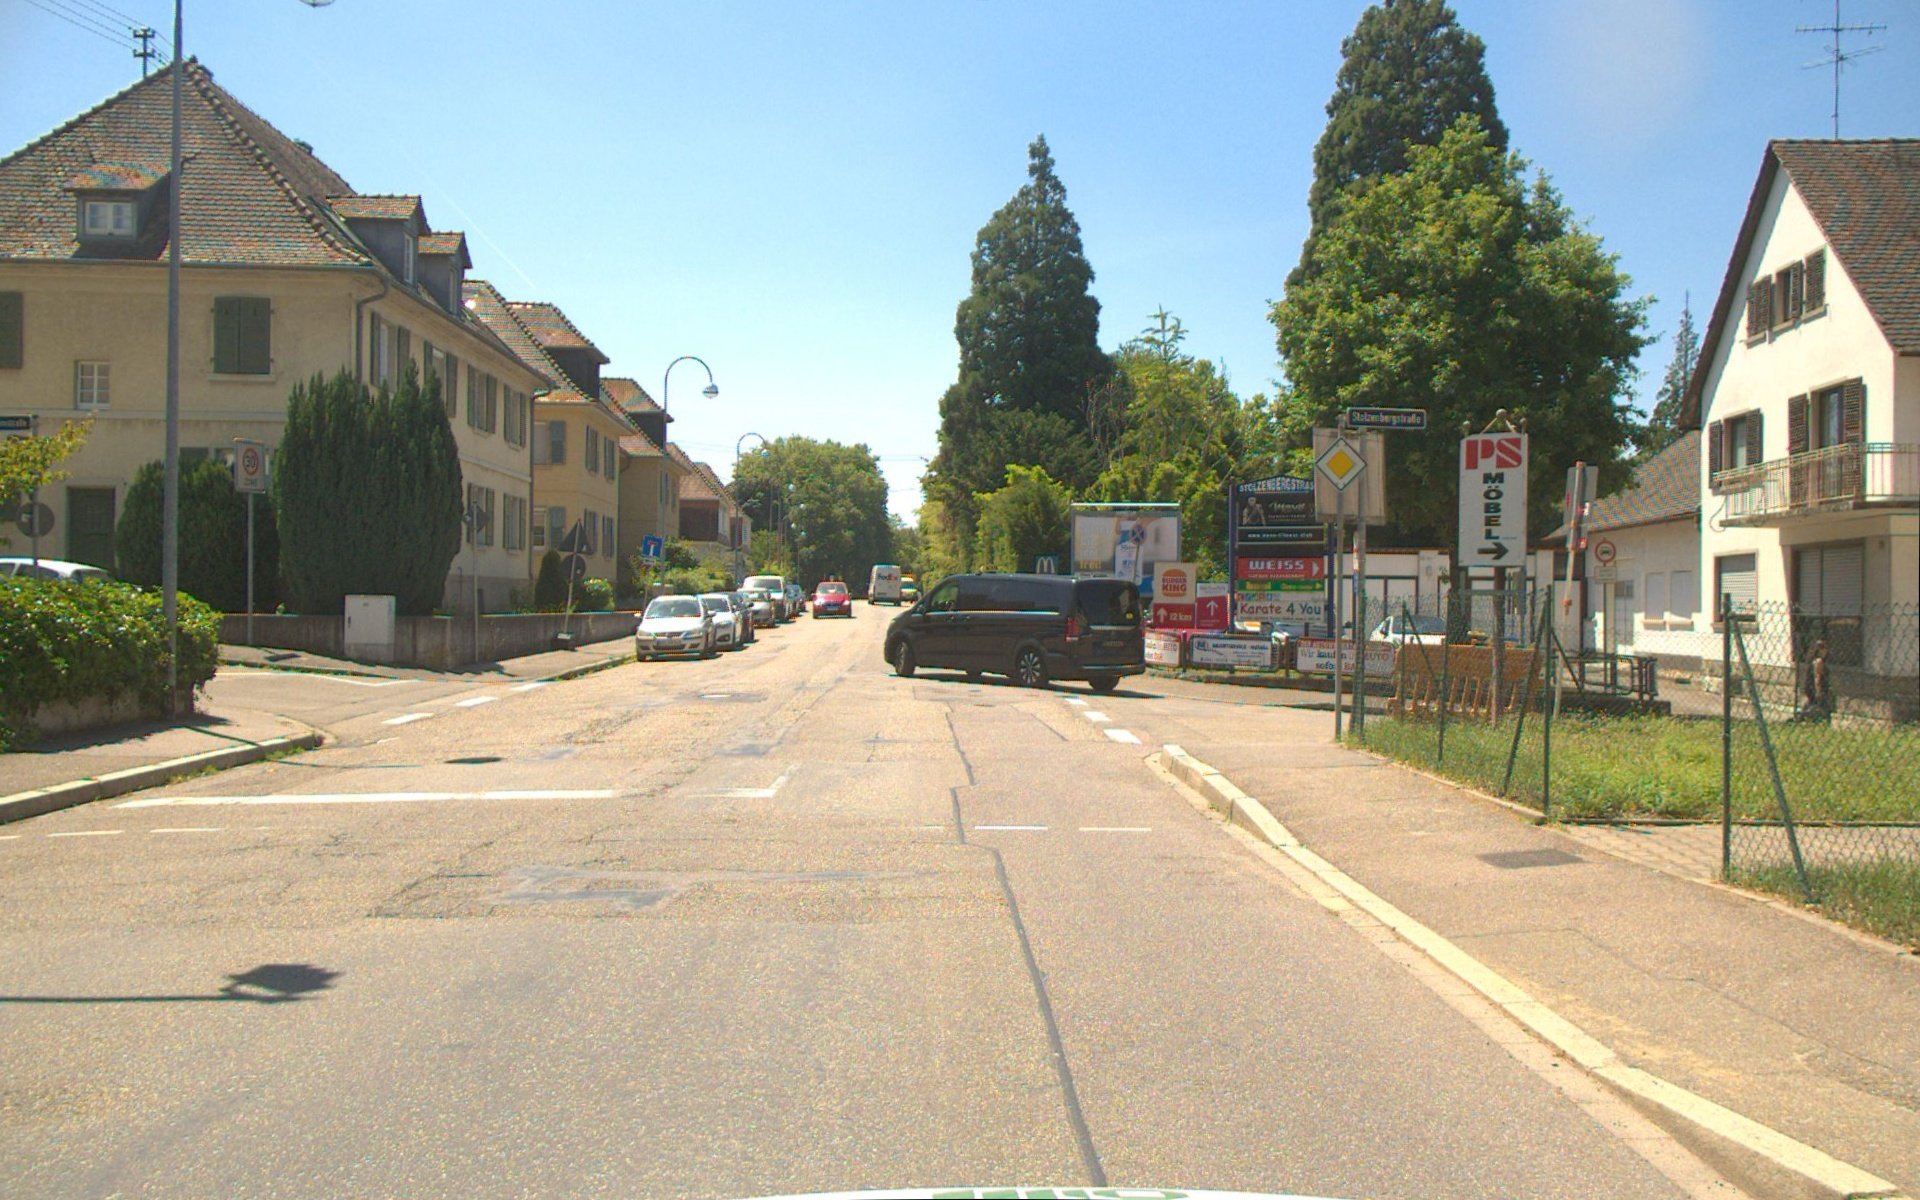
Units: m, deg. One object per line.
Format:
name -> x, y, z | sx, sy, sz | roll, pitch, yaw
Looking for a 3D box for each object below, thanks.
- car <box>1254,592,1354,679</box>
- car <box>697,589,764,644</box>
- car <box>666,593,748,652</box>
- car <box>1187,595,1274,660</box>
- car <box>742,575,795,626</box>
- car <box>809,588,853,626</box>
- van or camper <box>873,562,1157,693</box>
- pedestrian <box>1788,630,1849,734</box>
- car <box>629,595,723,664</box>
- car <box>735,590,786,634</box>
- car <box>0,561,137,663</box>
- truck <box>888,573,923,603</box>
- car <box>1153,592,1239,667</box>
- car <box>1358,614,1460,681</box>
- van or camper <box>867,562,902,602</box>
car -> 7.390, 0.709, 35.862 | 1.675, 1.694, 4.463 | 2, 0, 7
car -> -6.734, 0.456, 48.820 | 1.682, 1.511, 4.073 | -1, 0, -4
car -> -6.605, 0.557, 43.574 | 1.759, 1.426, 4.215 | -1, 0, -4
car -> 8.495, 0.829, 52.333 | 1.740, 1.831, 4.163 | 4, 0, -3
car -> -7.995, -0.028, 69.289 | 1.841, 1.997, 4.623 | -2, 1, -3
car -> -5.659, 0.291, 72.722 | 1.778, 1.593, 3.694 | -1, 0, -3
van or camper -> 0.840, 0.395, 28.619 | 1.892, 2.049, 5.191 | 1, 0, -41
pedestrian -> 13.851, 1.313, 26.689 | 0.681, 1.628, 0.572 | 0, 0, -3
car -> -6.586, 0.646, 38.679 | 1.724, 1.473, 3.921 | -1, 0, -4
car -> -7.498, 0.411, 62.358 | 1.653, 1.552, 4.060 | 1, 1, -4
car -> -15.417, 0.134, 26.836 | 3.136, 1.482, 1.736 | 5, -1, 4
truck -> -4.375, -0.928, 131.710 | 2.311, 2.298, 6.083 | 0, 0, -7
car -> 5.121, 0.601, 36.215 | 1.675, 1.550, 3.842 | 0, 0, 5
car -> 9.553, 0.976, 35.424 | 1.675, 1.292, 3.387 | 1, 0, 8
van or camper -> -5.019, -1.166, 109.335 | 2.218, 2.572, 4.756 | -1, 0, -4
